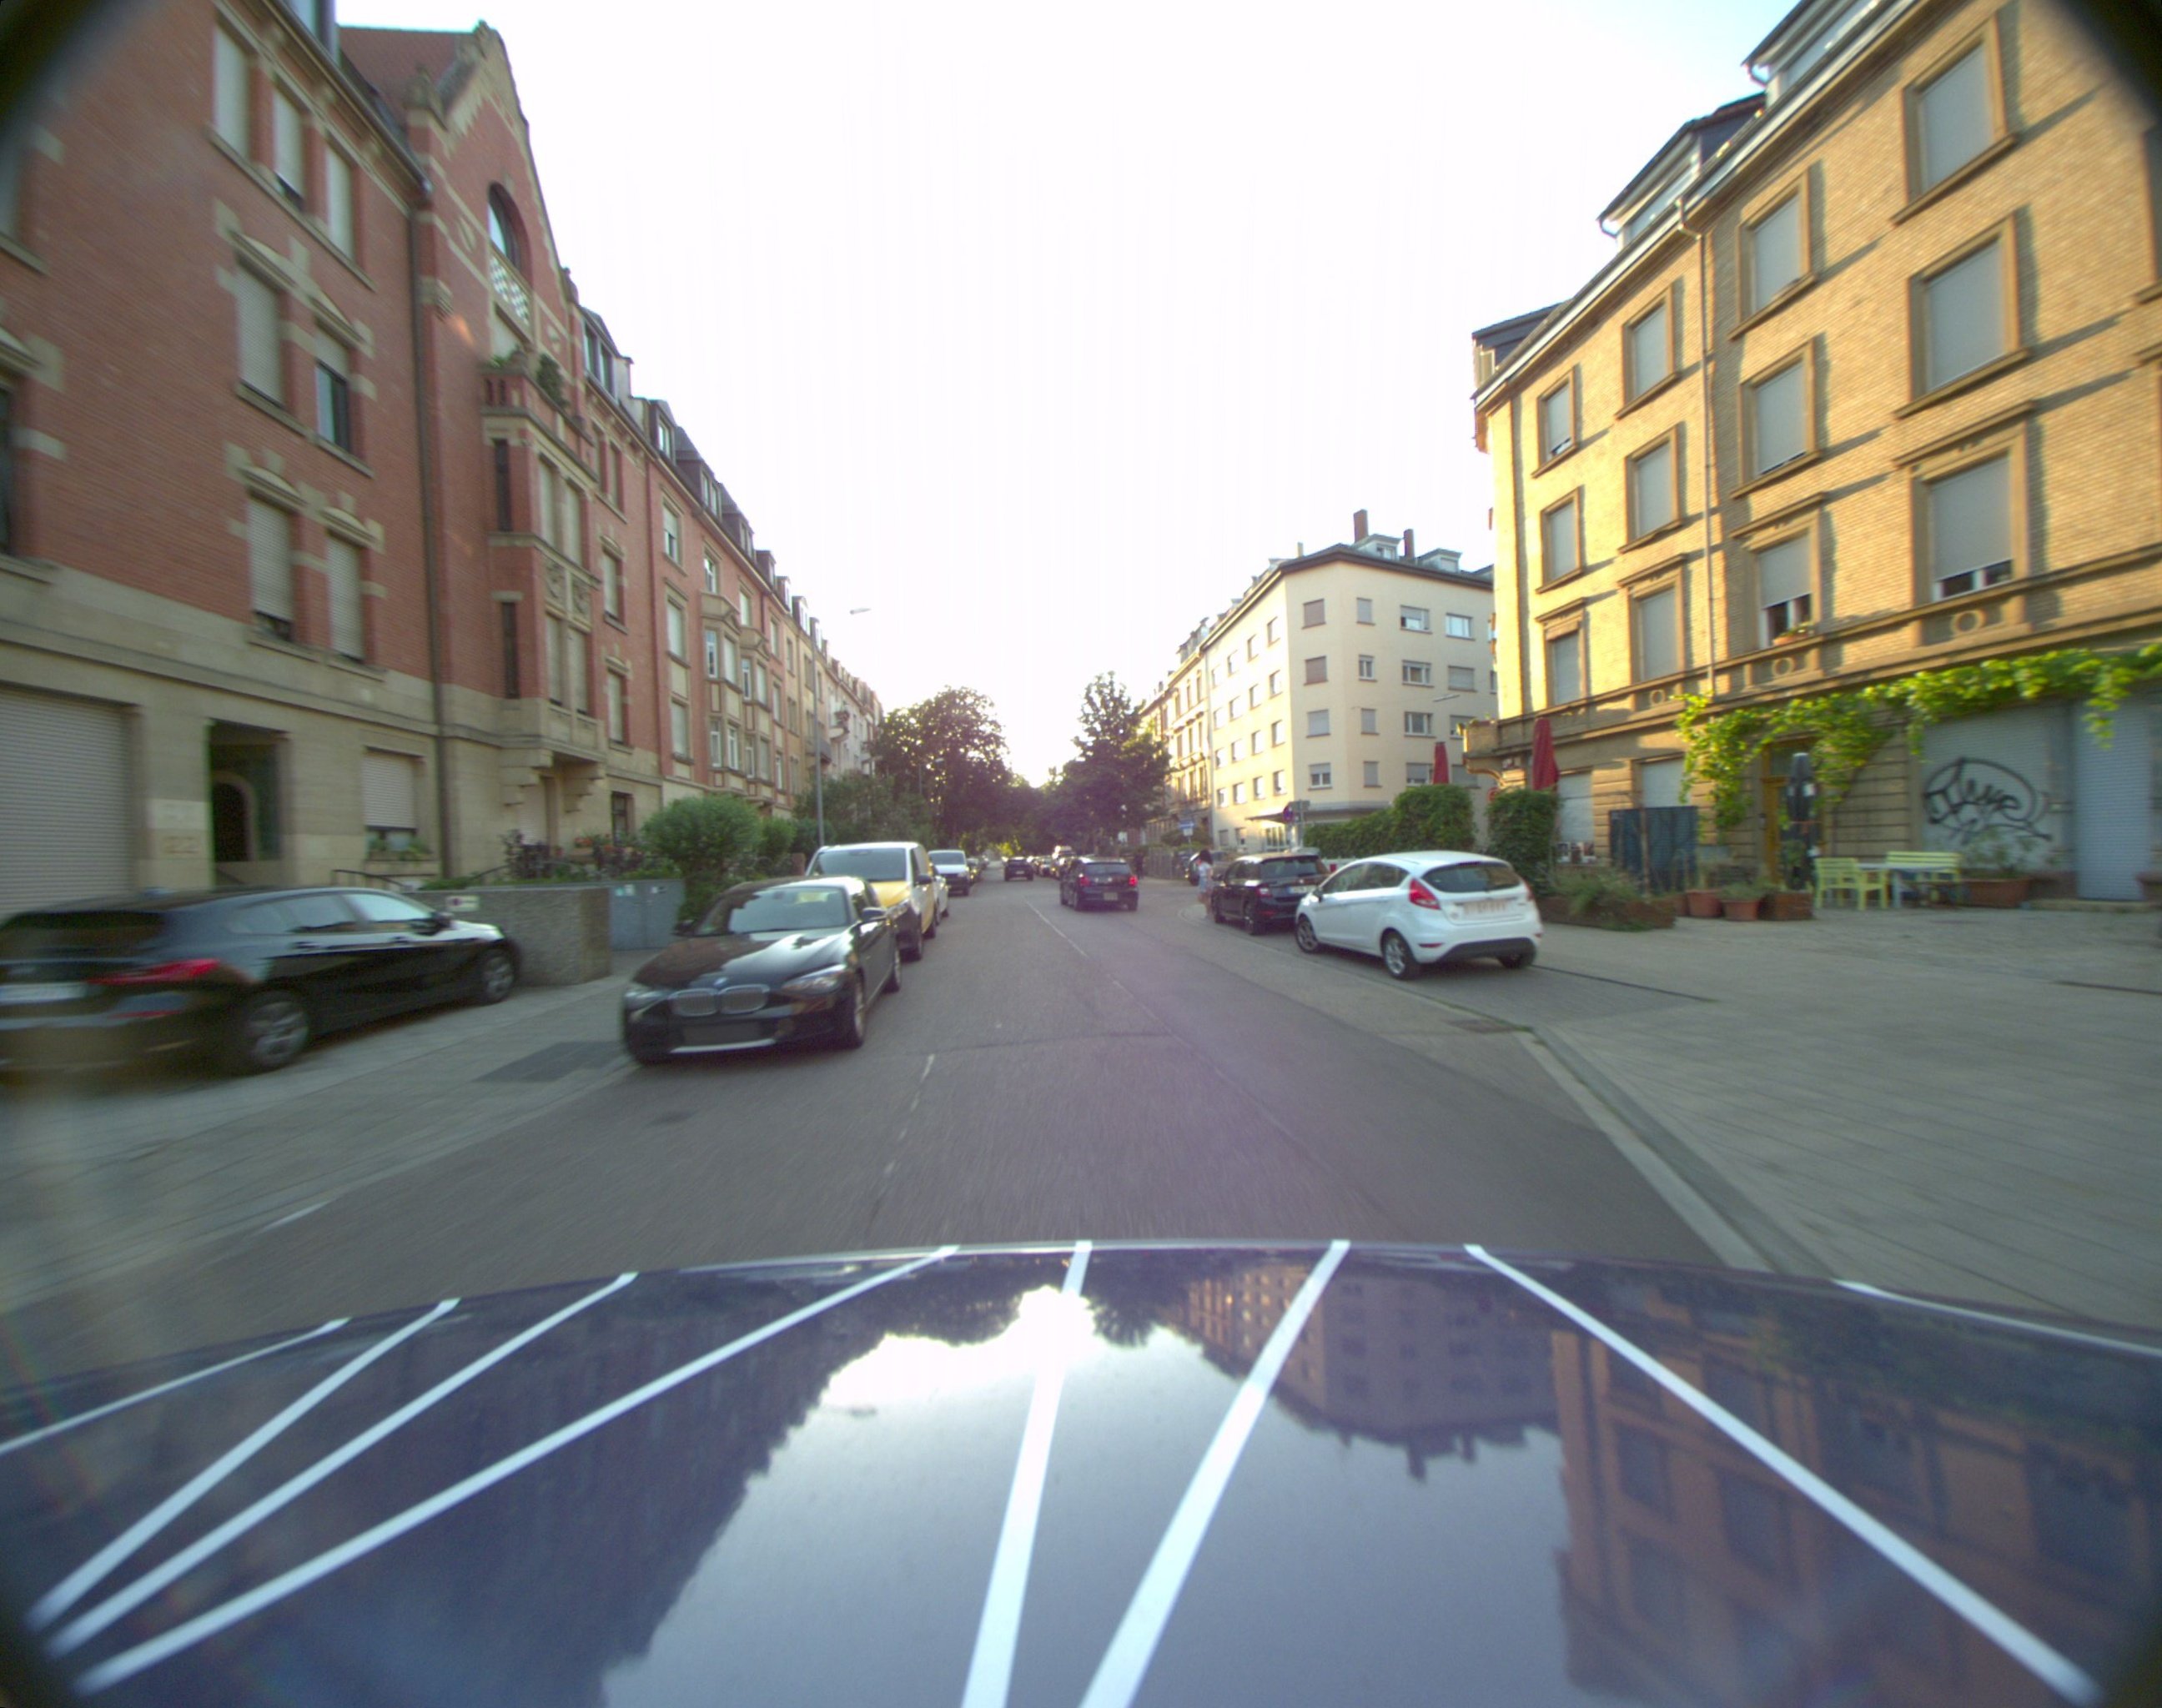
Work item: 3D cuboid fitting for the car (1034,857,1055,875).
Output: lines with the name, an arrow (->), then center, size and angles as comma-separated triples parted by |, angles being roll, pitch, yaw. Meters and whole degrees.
car -> -3.287, 1.064, 67.604 | 1.683, 1.489, 3.623 | -2, 0, -5

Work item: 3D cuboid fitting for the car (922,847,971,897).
car -> -5.862, 0.744, 33.602 | 1.867, 2.027, 5.541 | 0, 0, -8

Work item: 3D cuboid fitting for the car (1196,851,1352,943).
car -> 3.639, 0.744, 15.073 | 1.709, 1.525, 3.842 | -2, 0, -6

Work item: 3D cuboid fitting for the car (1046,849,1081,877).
car -> -1.260, 0.624, 52.676 | 1.867, 1.769, 4.620 | -2, 0, -8

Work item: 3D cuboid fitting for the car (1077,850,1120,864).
car -> 1.866, 0.306, 82.328 | 4.415, 1.333, 1.625 | -2, 0, -6

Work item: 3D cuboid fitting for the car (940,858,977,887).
car -> -7.142, 1.027, 44.534 | 1.725, 1.542, 4.323 | -2, 0, -5

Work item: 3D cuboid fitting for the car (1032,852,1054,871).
car -> -3.675, 0.696, 72.980 | 1.867, 1.653, 4.019 | -2, 0, -6

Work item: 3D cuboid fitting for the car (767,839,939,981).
car -> -3.606, 0.764, 13.010 | 1.899, 1.873, 5.078 | -2, 0, -7

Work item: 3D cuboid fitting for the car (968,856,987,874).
car -> -10.525, 1.111, 77.212 | 1.738, 1.692, 4.165 | -2, 0, -8

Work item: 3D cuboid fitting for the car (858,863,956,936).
car -> -4.112, 1.014, 18.477 | 1.679, 1.468, 3.860 | -2, 0, -4

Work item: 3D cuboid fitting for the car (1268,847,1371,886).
car -> 10.713, 0.545, 34.333 | 4.068, 1.500, 1.974 | -3, 0, 6

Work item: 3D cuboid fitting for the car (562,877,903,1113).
car -> -2.907, 1.035, 7.428 | 1.727, 1.416, 4.250 | -3, 0, -7

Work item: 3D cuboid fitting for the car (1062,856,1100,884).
car -> -0.047, 0.851, 42.425 | 1.747, 1.412, 4.140 | -2, 0, -4

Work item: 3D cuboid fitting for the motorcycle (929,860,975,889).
motorcycle -> -6.871, 1.071, 40.474 | 2.099, 1.473, 1.130 | 0, 0, -40

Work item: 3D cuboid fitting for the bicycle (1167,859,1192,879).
bicycle -> 5.439, 0.806, 41.993 | 0.689, 1.019, 1.930 | -3, 0, -12

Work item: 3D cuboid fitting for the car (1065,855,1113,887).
car -> 0.338, 0.797, 37.782 | 1.680, 1.453, 4.460 | -2, 0, -8

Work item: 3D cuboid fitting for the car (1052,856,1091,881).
car -> -0.656, 0.894, 47.710 | 1.867, 1.404, 4.587 | -2, 0, -8

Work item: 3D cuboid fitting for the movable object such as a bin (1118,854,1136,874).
movable object such as a bin -> 3.311, 0.706, 54.744 | 0.949, 1.379, 1.550 | -3, 1, -10

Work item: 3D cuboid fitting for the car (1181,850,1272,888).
car -> 6.370, 0.648, 33.523 | 3.517, 1.499, 1.844 | -2, -1, -7

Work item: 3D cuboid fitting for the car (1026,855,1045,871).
car -> -5.113, 1.013, 84.445 | 1.678, 1.627, 3.937 | -2, 0, -9

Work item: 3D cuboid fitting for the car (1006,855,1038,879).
car -> -3.943, 0.822, 50.273 | 1.785, 1.508, 3.996 | 0, 0, -10

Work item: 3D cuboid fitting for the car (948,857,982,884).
car -> -7.553, 1.027, 49.768 | 1.761, 1.573, 4.839 | -3, 0, -5

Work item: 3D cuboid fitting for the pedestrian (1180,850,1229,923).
pedestrian -> 2.834, 0.736, 17.450 | 0.787, 1.609, 0.710 | -3, 1, -20

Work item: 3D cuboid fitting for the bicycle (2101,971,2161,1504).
bicycle -> 2.986, 0.874, 0.428 | 0.810, 1.214, 2.864 | -3, 0, -5

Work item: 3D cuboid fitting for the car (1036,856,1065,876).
car -> -2.402, 0.922, 58.826 | 1.734, 1.433, 4.021 | -2, 0, -8

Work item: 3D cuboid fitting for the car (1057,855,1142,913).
car -> 0.416, 0.780, 21.244 | 1.658, 1.446, 3.938 | 1, 0, -9

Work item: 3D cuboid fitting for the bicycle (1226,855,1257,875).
bicycle -> 9.308, 0.633, 44.067 | 1.636, 1.086, 0.500 | -3, 1, -13

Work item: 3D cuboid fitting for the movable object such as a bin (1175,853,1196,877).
movable object such as a bin -> 6.148, 0.634, 44.925 | 0.869, 1.344, 1.398 | -3, 1, -5

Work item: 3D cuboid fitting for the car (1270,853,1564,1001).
car -> 4.153, 0.782, 10.196 | 1.656, 1.521, 4.014 | -2, 0, -9

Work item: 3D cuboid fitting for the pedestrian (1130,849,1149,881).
pedestrian -> 3.255, 0.583, 42.126 | 0.890, 1.712, 0.959 | -3, 1, 9

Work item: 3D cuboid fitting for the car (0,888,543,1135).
car -> -7.263, 1.123, 7.135 | 1.731, 1.416, 4.420 | 0, 0, -8
